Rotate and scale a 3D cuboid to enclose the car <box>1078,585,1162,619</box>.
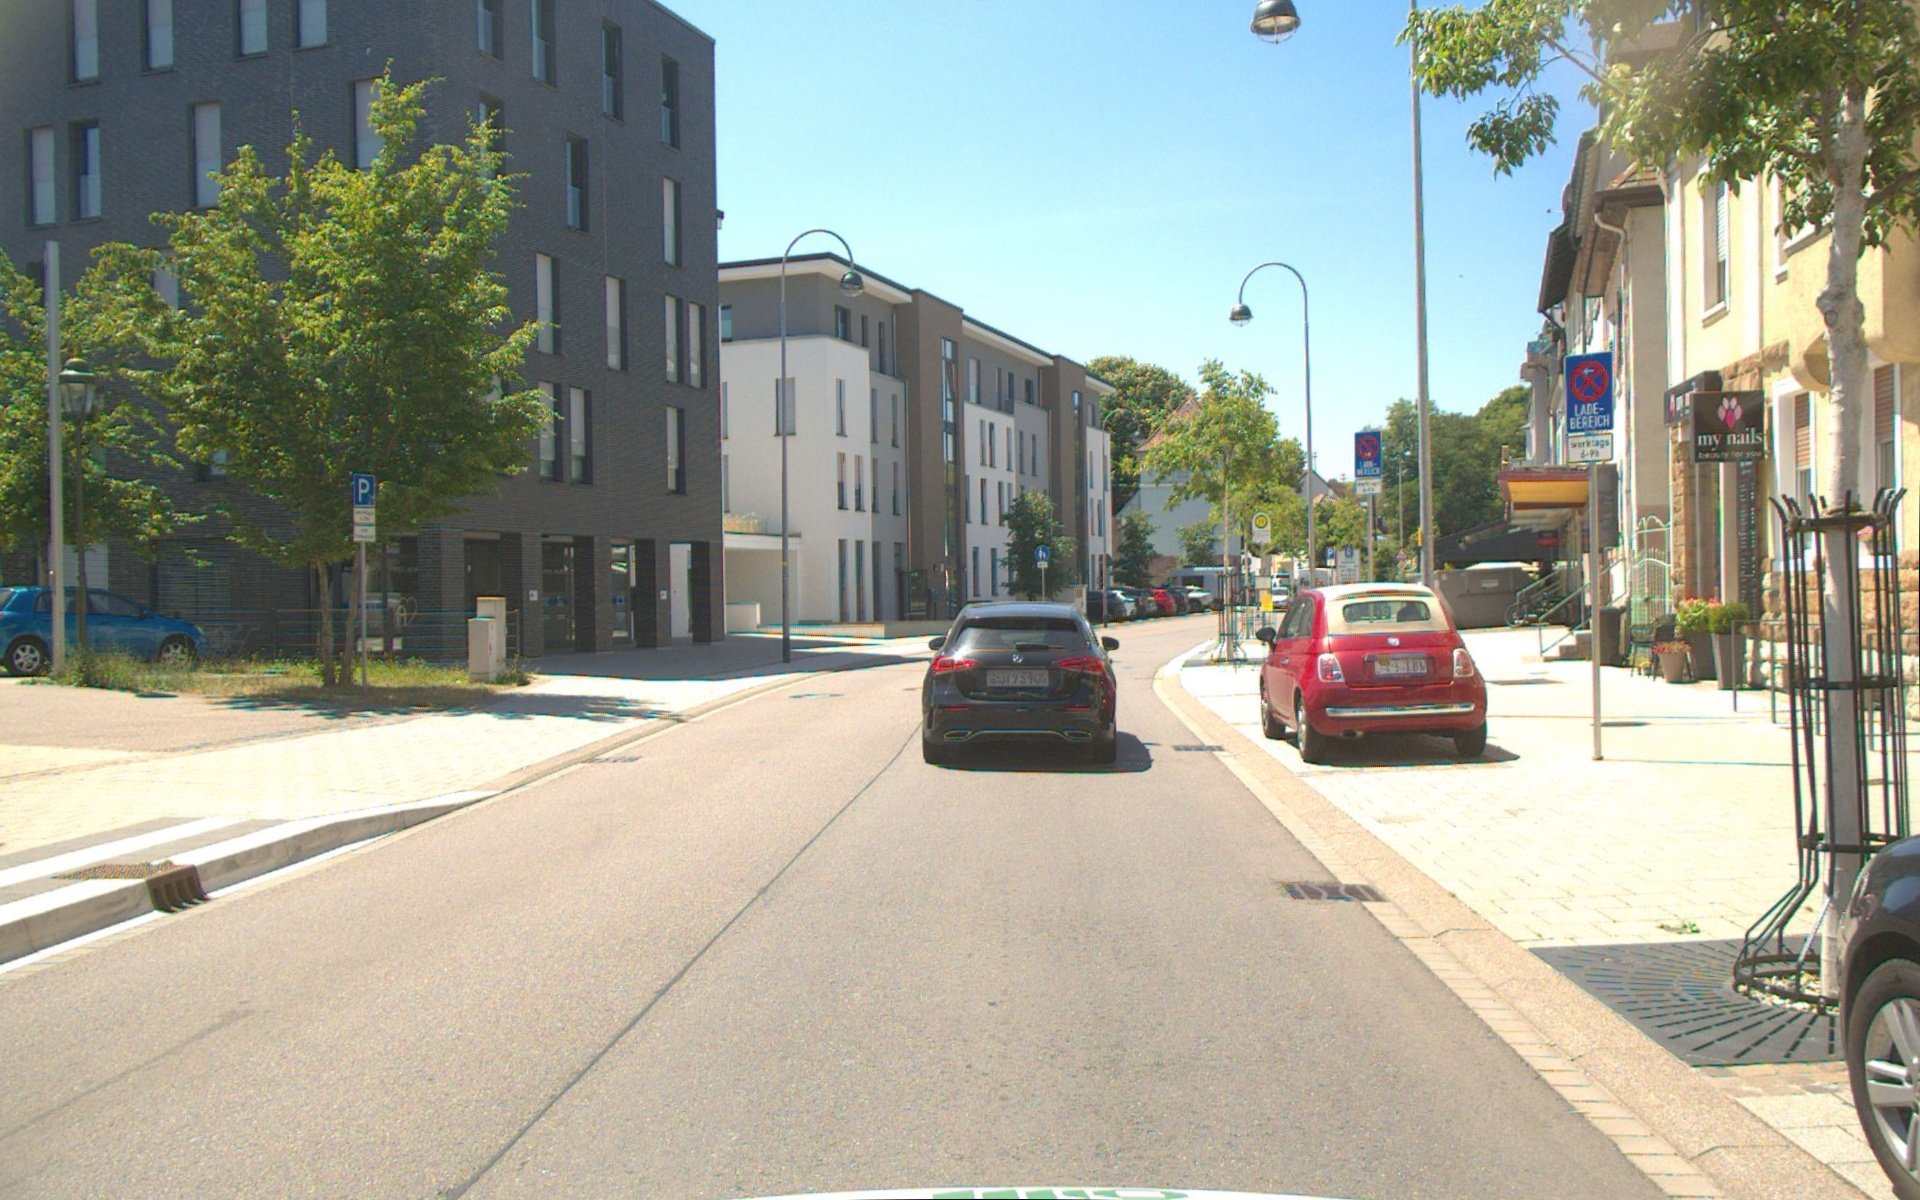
[{"bbox_3d":[8.270,0.098,85.377,3.905,1.691,2.000,-1,0,21],"label":"car"}]

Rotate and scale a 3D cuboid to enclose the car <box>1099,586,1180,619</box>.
[{"bbox_3d":[9.551,0.141,87.957,3.905,1.691,2.000,-1,0,21],"label":"car"}]

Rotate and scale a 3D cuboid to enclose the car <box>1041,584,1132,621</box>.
[{"bbox_3d":[5.997,0.105,78.284,3.905,1.691,2.000,-1,0,21],"label":"car"}]

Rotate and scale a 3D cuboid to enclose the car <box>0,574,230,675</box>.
[{"bbox_3d":[-14.960,0.378,28.302,1.958,1.596,4.156,-1,0,33],"label":"car"}]

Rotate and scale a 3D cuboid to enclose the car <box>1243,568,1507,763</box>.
[{"bbox_3d":[3.759,0.543,15.534,1.573,1.556,3.492,-3,0,1],"label":"car"}]

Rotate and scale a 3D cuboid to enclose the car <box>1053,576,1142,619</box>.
[{"bbox_3d":[6.704,-0.100,80.684,3.906,2.049,2.000,-1,0,23],"label":"car"}]

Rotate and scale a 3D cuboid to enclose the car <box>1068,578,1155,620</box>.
[{"bbox_3d":[7.601,-0.057,82.887,3.906,2.049,2.000,-1,0,23],"label":"car"}]

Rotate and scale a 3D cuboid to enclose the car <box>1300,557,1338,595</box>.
[{"bbox_3d":[19.628,-1.295,90.557,1.951,2.049,4.004,-1,0,11],"label":"car"}]

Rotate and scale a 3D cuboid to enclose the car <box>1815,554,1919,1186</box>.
[{"bbox_3d":[3.088,0.600,2.290,1.714,1.512,4.000,-4,0,1],"label":"car"}]

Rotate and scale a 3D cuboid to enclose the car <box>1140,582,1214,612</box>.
[{"bbox_3d":[12.734,-0.181,97.012,3.905,1.691,2.000,-1,0,21],"label":"car"}]

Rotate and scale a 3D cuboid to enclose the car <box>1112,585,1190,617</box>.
[{"bbox_3d":[10.599,0.064,91.720,3.905,1.691,2.000,-1,0,21],"label":"car"}]

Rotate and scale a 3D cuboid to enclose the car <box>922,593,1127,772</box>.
[{"bbox_3d":[0.681,0.697,16.357,1.726,1.483,4.440,-1,0,3],"label":"car"}]

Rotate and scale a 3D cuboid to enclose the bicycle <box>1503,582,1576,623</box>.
[{"bbox_3d":[17.078,0.080,48.740,2.004,1.199,0.892,-1,0,21],"label":"bicycle"}]

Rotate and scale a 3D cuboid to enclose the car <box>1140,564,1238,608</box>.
[{"bbox_3d":[14.149,-0.865,101.999,5.527,2.624,2.515,-1,0,23],"label":"car"}]
